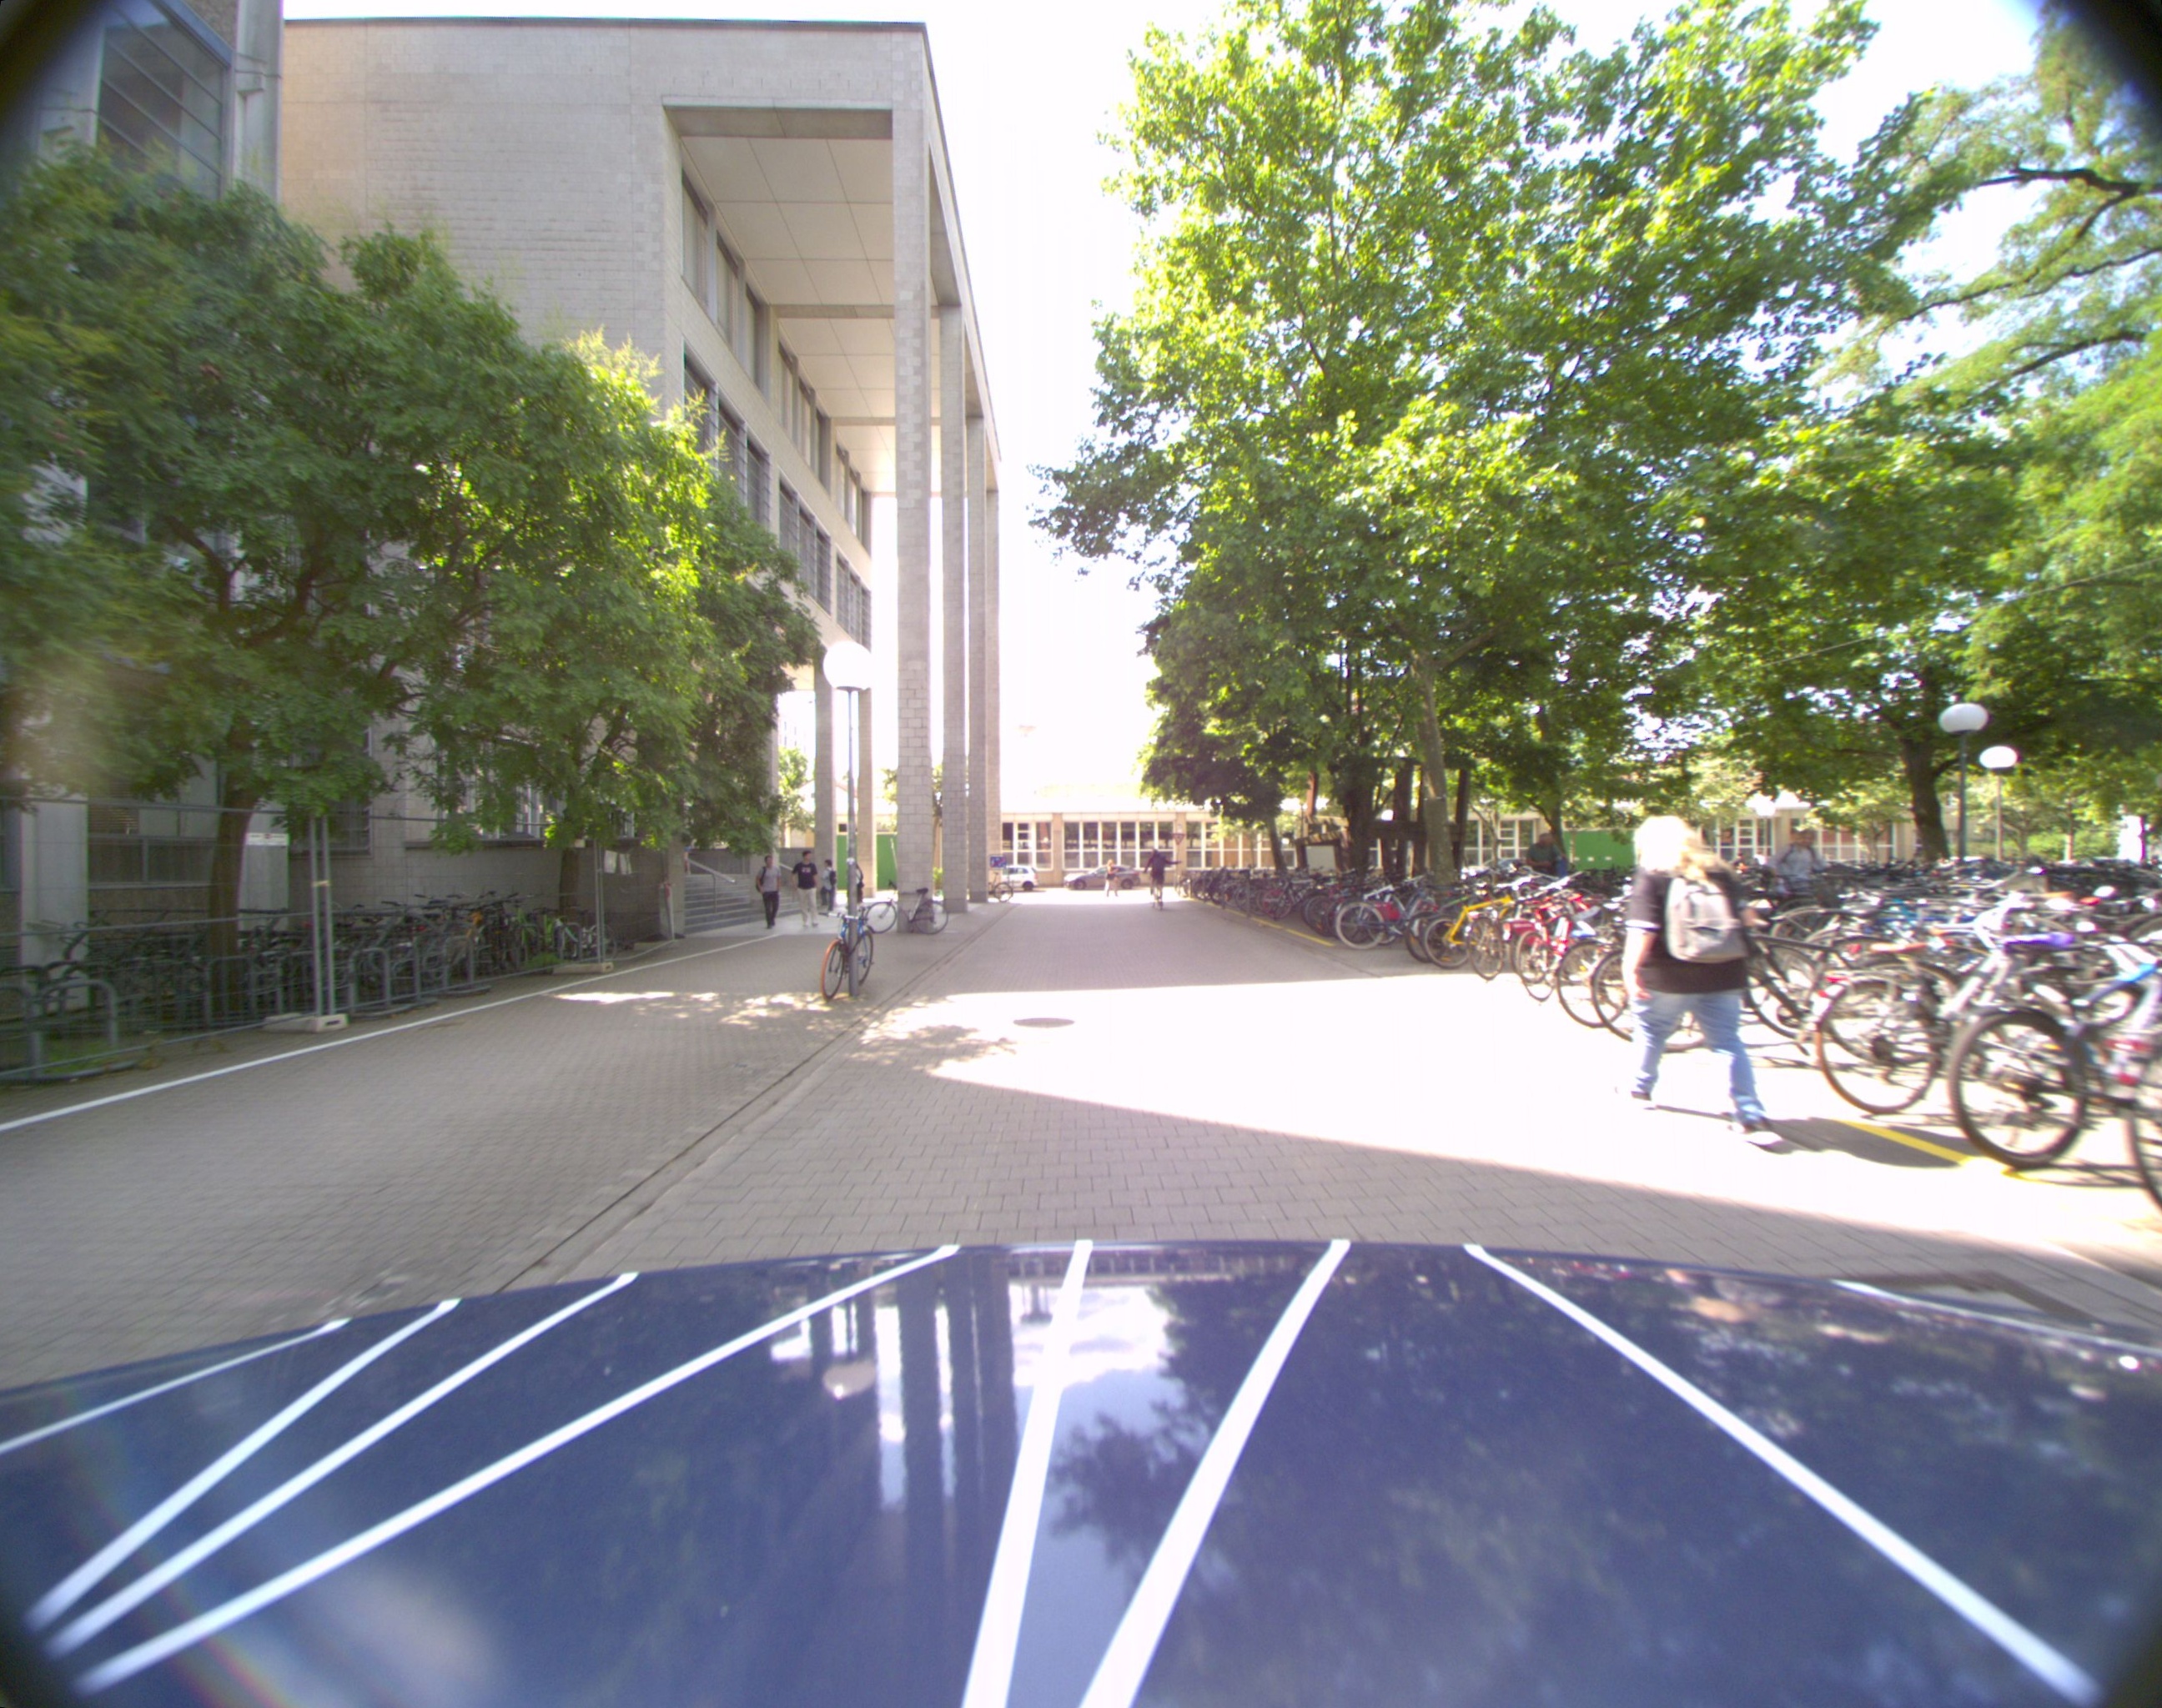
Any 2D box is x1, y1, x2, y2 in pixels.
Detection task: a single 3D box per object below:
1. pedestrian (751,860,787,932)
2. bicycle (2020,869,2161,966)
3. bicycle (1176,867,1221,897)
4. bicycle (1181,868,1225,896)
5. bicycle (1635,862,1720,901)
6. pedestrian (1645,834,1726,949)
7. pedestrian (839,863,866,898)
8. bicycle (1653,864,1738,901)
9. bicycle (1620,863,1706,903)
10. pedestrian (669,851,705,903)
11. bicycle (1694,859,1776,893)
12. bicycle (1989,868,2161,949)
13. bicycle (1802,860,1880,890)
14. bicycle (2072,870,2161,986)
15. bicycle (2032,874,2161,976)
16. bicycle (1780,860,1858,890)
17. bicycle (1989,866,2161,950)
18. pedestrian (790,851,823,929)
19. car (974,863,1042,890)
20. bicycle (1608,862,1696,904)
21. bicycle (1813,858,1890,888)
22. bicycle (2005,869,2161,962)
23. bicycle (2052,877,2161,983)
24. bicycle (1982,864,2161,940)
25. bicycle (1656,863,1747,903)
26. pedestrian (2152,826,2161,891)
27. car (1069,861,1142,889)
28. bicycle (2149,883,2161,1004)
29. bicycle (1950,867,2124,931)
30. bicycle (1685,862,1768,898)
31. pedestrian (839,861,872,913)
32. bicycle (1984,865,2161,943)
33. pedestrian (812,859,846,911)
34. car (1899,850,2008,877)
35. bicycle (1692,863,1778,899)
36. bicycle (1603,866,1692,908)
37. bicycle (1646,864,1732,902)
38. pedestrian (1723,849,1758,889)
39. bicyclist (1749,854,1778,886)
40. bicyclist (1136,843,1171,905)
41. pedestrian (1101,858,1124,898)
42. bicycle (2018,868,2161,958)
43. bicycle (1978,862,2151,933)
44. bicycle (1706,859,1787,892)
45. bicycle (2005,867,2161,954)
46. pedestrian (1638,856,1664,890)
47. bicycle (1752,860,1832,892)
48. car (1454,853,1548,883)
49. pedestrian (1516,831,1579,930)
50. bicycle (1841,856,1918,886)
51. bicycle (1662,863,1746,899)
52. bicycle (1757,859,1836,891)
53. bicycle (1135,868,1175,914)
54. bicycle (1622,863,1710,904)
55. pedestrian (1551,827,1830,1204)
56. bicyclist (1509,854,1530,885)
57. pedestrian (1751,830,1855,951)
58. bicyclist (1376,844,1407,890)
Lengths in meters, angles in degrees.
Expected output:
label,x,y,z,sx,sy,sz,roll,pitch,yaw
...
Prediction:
label,x,y,z,sx,sy,sz,roll,pitch,yaw
pedestrian,-7.331,0.971,17.864,0.703,1.645,0.881,-1,0,-18
bicycle,12.307,0.721,8.820,1.695,1.077,0.475,-2,1,35
bicycle,4.520,1.083,29.205,1.629,1.101,0.497,-1,-2,-1
bicycle,4.814,1.110,30.102,1.629,1.101,0.497,-1,-2,-1
bicycle,17.512,0.793,22.355,0.503,1.101,1.902,-2,0,-31
pedestrian,9.320,0.559,11.754,0.904,1.693,0.771,-2,0,35
pedestrian,-10.590,1.223,35.222,0.878,1.565,0.822,-1,-1,43
bicycle,19.344,0.873,23.961,0.503,1.101,2.001,-2,0,-31
bicycle,16.905,0.815,22.120,0.503,1.101,1.902,-2,0,-31
pedestrian,-13.128,0.757,25.331,0.866,1.714,0.644,-1,0,-2
bicycle,21.950,0.724,25.548,0.503,1.101,2.025,-2,0,-33
bicycle,14.208,0.754,10.738,1.695,1.077,0.475,-2,1,35
bicycle,29.007,0.775,29.045,0.503,1.101,2.026,-2,0,-27
bicycle,10.751,0.693,7.129,1.695,1.077,0.475,-2,1,35
bicycle,11.802,0.770,8.299,1.695,1.077,0.475,-2,1,35
bicycle,27.616,0.773,28.484,0.503,1.101,2.026,-2,0,-27
bicycle,13.738,0.721,10.336,1.695,1.077,0.475,-2,1,35
pedestrian,-6.546,0.845,18.149,0.703,1.792,0.881,-1,0,-18
car,-4.226,1.285,44.297,3.777,1.468,1.653,-1,2,-1
bicycle,15.970,0.803,21.289,0.503,1.101,1.902,-2,0,-34
bicycle,29.630,0.733,29.265,0.503,1.101,2.026,-2,0,-27
bicycle,12.596,0.730,9.209,1.695,1.077,0.475,-2,1,35
bicycle,11.526,0.788,7.893,1.695,1.077,0.475,-2,1,35
bicycle,15.177,0.714,11.655,1.695,1.077,0.475,-2,1,42
bicycle,18.178,0.834,22.297,0.503,1.101,2.001,-2,0,-31
pedestrian,29.375,0.107,20.386,0.671,1.761,0.502,-2,0,-11
car,1.410,1.236,44.518,4.209,1.467,1.653,-1,1,-1
bicycle,10.277,0.783,6.226,1.695,1.077,0.475,-2,1,38
bicycle,15.418,0.695,12.321,0.453,0.956,1.735,-2,0,-39
bicycle,21.306,0.845,25.124,0.503,1.101,2.025,-2,0,-33
pedestrian,-7.048,1.017,23.770,0.809,1.608,0.739,-1,0,-33
bicycle,14.750,0.719,11.261,1.695,1.077,0.475,-2,1,42
pedestrian,-8.226,1.003,24.792,0.896,1.660,0.676,-1,0,41
car,51.610,0.556,44.995,4.536,1.532,1.838,-1,-1,-3
bicycle,21.067,0.843,24.521,0.503,1.101,2.025,-2,0,-33
bicycle,15.563,0.890,20.926,0.503,1.101,1.902,-2,0,-34
bicycle,18.746,0.865,23.481,0.503,1.101,2.001,-2,0,-31
pedestrian,28.339,0.651,32.652,0.874,1.674,0.728,-1,0,-4
bicyclist,33.752,0.792,37.591,0.874,1.564,0.640,-1,1,-4
bicyclist,2.067,0.554,21.827,0.773,1.706,0.911,-4,1,-3
pedestrian,1.309,0.988,31.637,0.882,1.645,0.703,-1,0,-3
bicycle,13.122,0.726,9.498,1.695,1.077,0.475,-2,1,35
bicycle,15.946,0.683,12.389,0.475,1.077,1.695,-2,1,-39
bicycle,22.834,0.727,26.116,0.503,1.101,2.026,-2,0,-27
bicycle,13.447,0.719,9.913,1.695,1.077,0.475,-2,1,35
pedestrian,25.875,0.863,34.467,0.841,1.511,0.570,-2,0,-23
bicycle,25.487,0.773,27.272,0.503,1.101,2.026,-2,0,-27
car,24.707,0.794,44.769,4.536,1.608,1.837,-1,1,-3
pedestrian,8.806,0.485,14.341,0.771,1.796,0.708,-2,0,-33
bicycle,31.315,0.646,29.832,0.503,1.101,2.027,-2,0,-19
bicycle,19.862,0.841,24.257,0.503,1.101,2.001,-2,0,-31
bicycle,26.145,0.760,27.796,0.503,1.101,2.026,-2,0,-27
bicycle,2.100,1.022,21.849,0.773,1.144,2.107,-4,1,-3
bicycle,16.586,0.829,21.594,0.503,1.101,1.902,-2,0,-31
pedestrian,3.151,0.722,3.966,0.771,1.670,0.905,-3,1,-33
bicyclist,22.073,0.771,38.239,0.727,1.526,0.605,-1,2,1
pedestrian,10.609,0.511,11.181,0.771,1.693,0.905,-2,0,-31
bicyclist,13.524,0.546,33.107,0.869,1.882,0.803,-9,5,-37
